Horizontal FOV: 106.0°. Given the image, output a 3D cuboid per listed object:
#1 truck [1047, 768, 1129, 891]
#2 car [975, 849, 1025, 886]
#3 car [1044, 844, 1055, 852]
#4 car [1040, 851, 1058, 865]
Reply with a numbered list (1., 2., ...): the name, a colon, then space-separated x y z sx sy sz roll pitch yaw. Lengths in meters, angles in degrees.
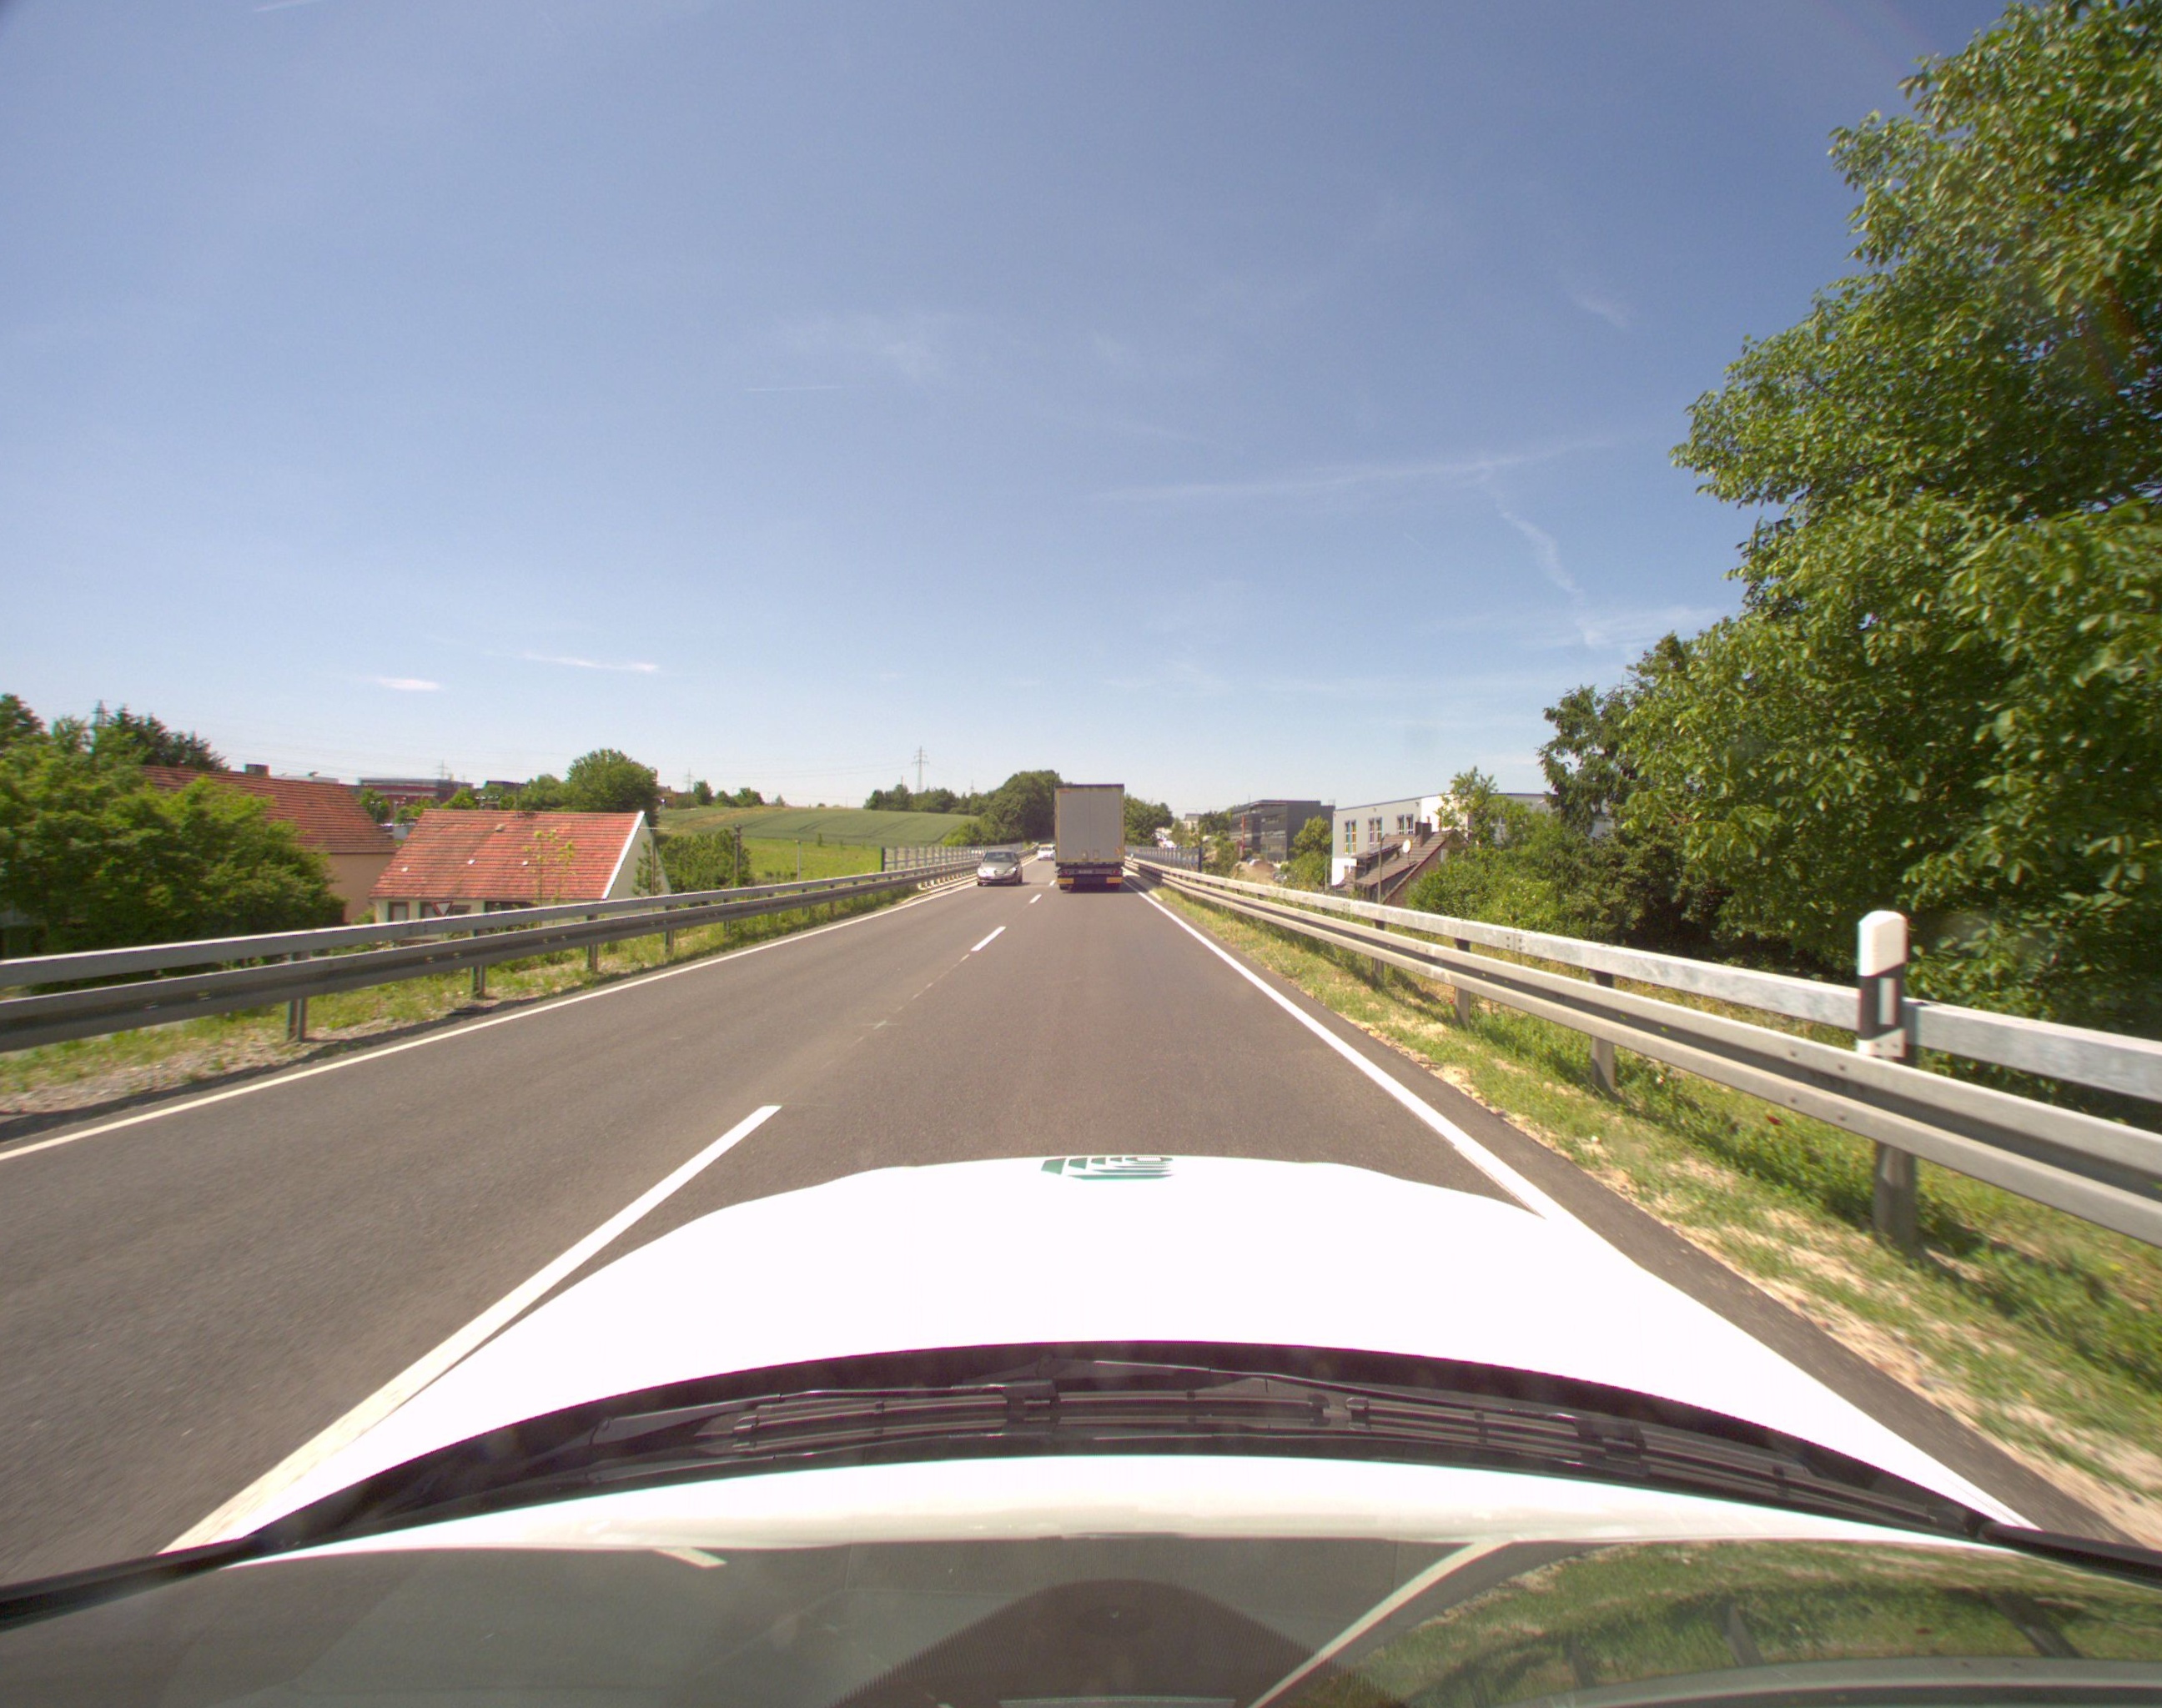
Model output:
1. truck: 0.255 -0.861 34.253 2.857 4.359 9.786 -1 0 0
2. car: -3.662 0.579 37.591 1.800 1.589 4.379 -1 0 0
3. car: -5.685 -1.074 148.167 1.776 1.435 4.832 -1 1 -1
4. car: -3.484 0.415 89.336 1.702 1.505 4.118 -1 0 0
